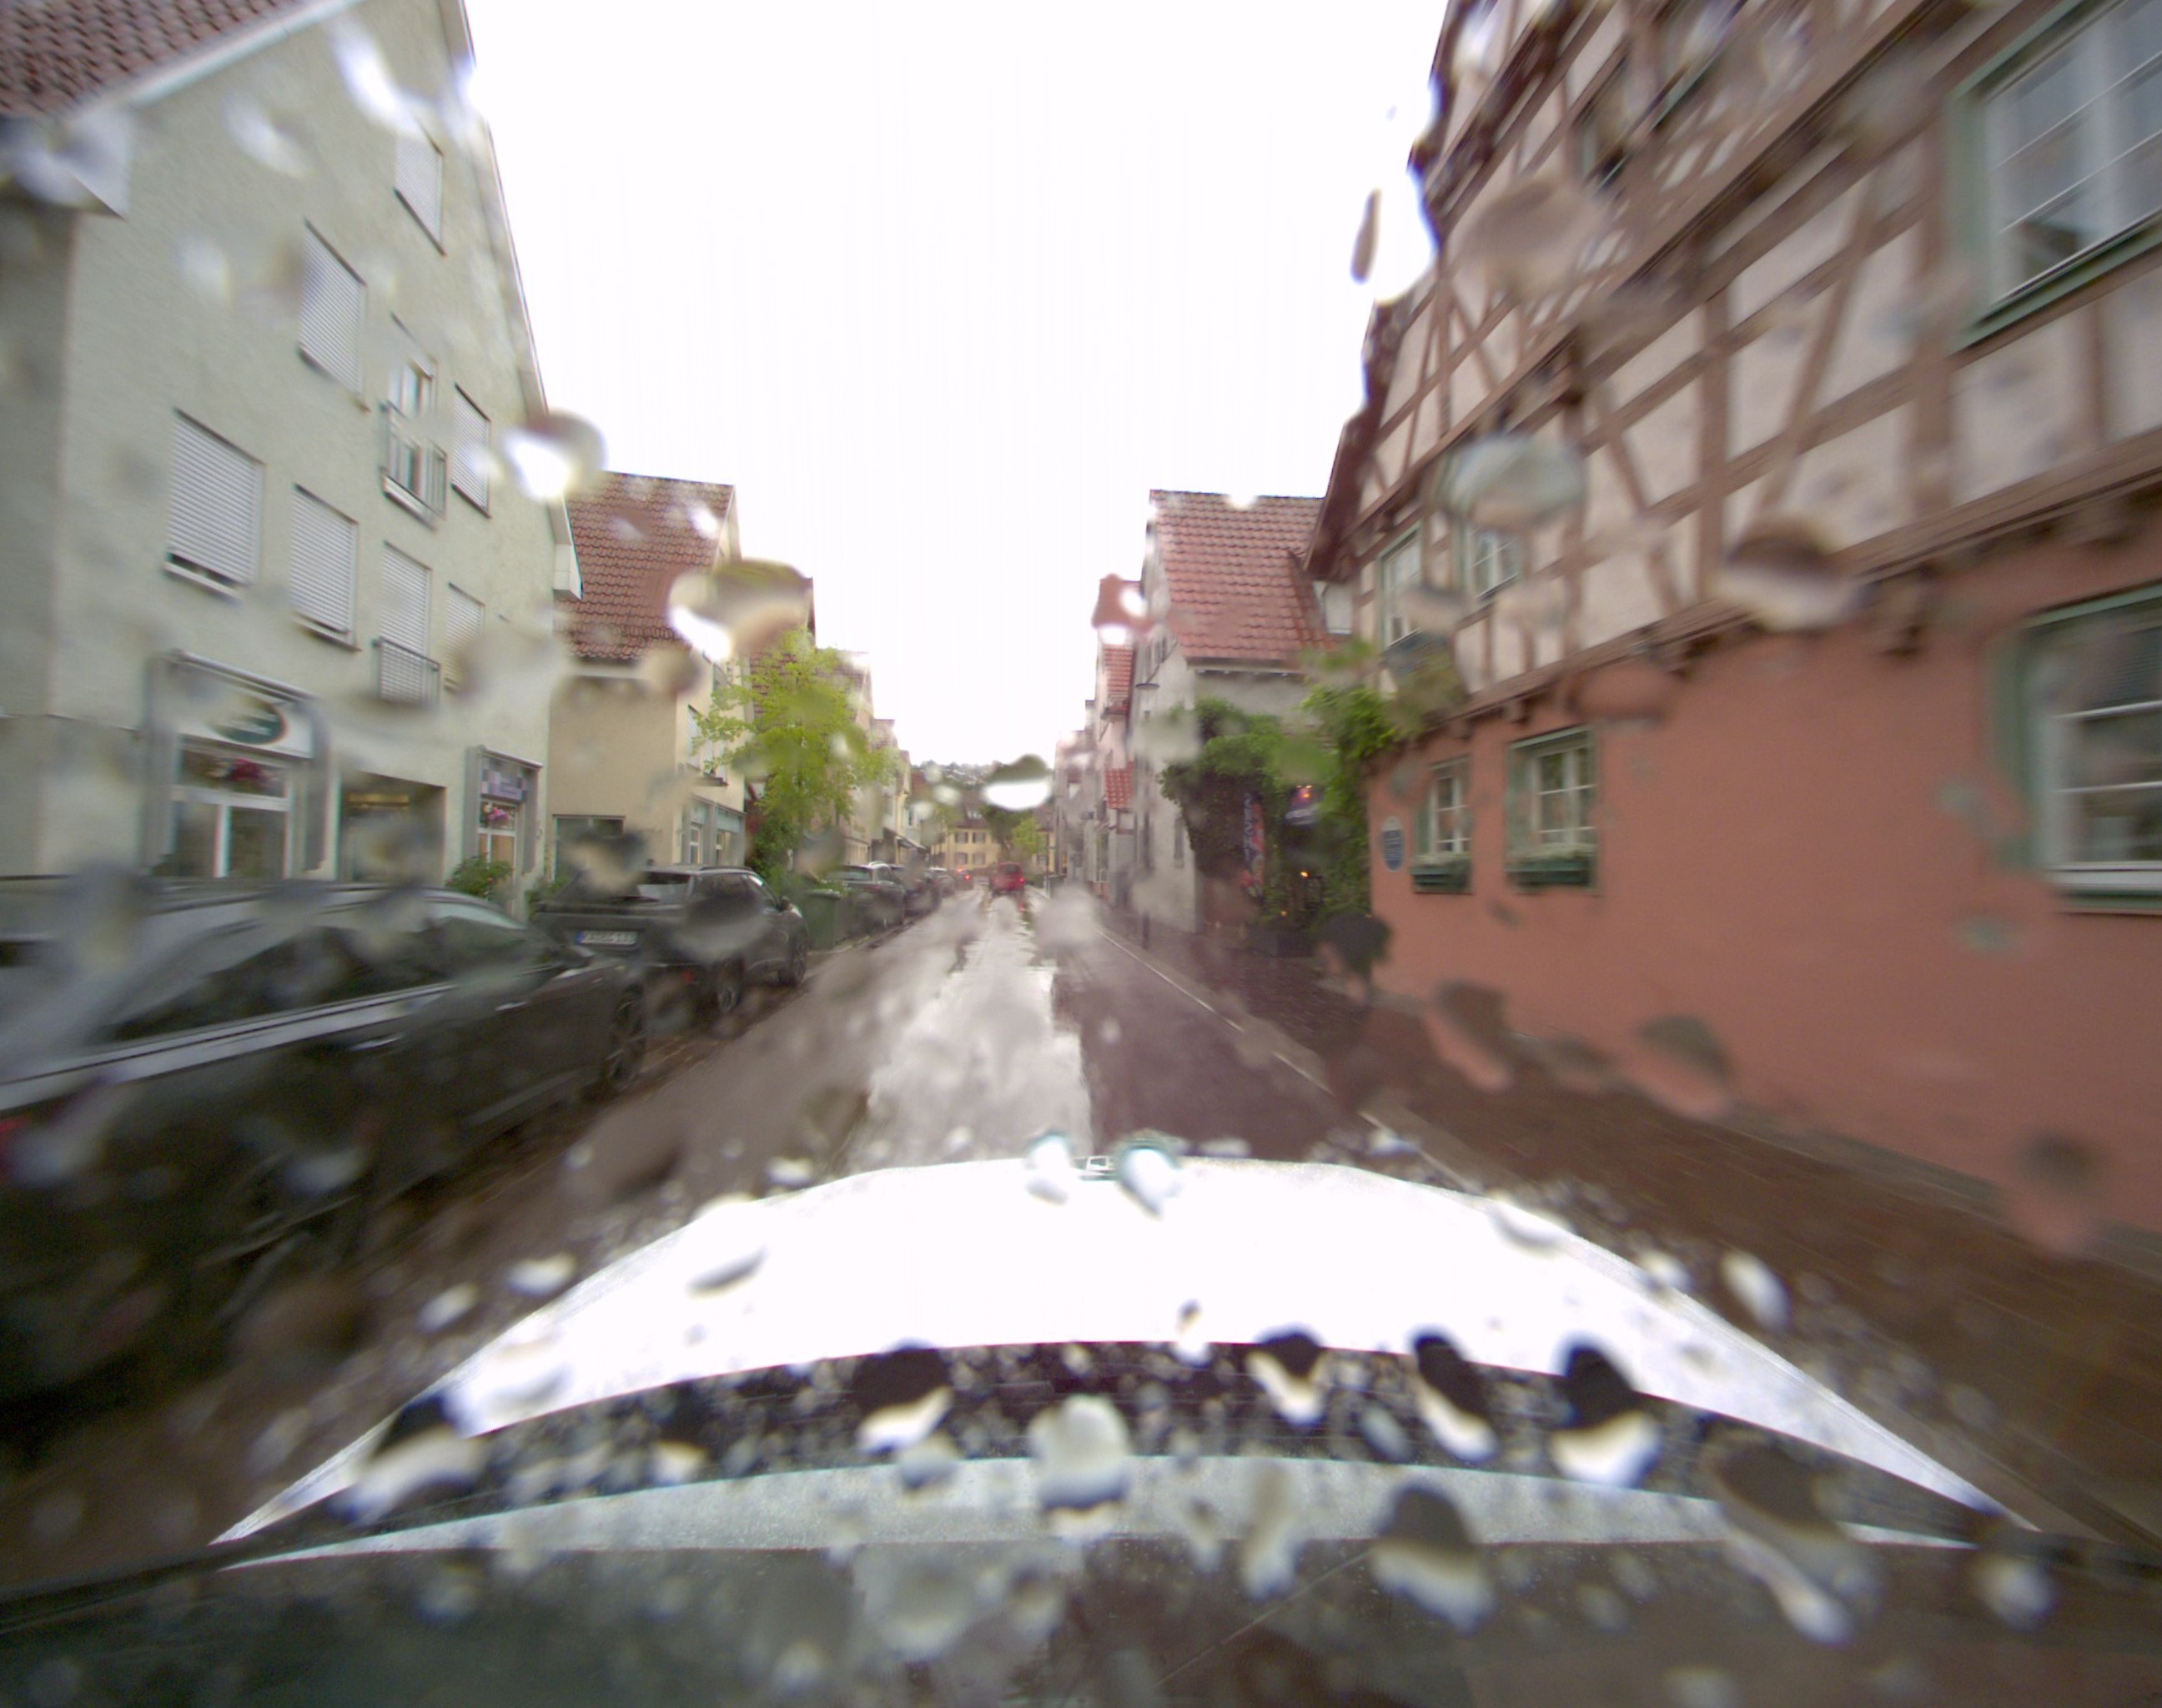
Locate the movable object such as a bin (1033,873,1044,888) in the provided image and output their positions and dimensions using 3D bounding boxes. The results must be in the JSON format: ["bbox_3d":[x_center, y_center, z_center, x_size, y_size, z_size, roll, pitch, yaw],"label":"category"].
[{"bbox_3d":[-3.220,2.018,62.023,0.767,1.080,0.598,1,-3,-5],"label":"movable object such as a bin"}]

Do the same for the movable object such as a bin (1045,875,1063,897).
[{"bbox_3d":[-1.342,1.594,40.378,0.792,1.081,0.613,0,-2,-9],"label":"movable object such as a bin"}]

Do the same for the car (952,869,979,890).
[{"bbox_3d":[-8.622,1.891,60.881,1.689,1.443,3.878,1,-1,-5],"label":"car"}]

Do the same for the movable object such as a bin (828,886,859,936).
[{"bbox_3d":[-5.037,1.202,17.298,0.551,1.046,0.533,1,-3,-9],"label":"movable object such as a bin"}]

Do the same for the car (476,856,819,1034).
[{"bbox_3d":[-4.490,0.846,9.333,1.859,1.524,4.319,2,-1,-5],"label":"car"}]

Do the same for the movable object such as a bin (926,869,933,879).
[{"bbox_3d":[-17.884,2.386,95.894,0.715,1.106,0.596,2,-3,-16],"label":"movable object such as a bin"}]

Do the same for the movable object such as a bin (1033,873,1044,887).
[{"bbox_3d":[-3.272,2.037,62.681,0.753,1.064,0.599,1,-3,-5],"label":"movable object such as a bin"}]

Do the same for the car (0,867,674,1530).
[{"bbox_3d":[-3.658,0.795,3.767,1.862,1.442,4.603,1,-1,-10],"label":"car"}]

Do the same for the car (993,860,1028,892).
[{"bbox_3d":[-4.220,1.306,49.210,1.889,1.811,3.996,2,-1,-3],"label":"car"}]

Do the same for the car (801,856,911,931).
[{"bbox_3d":[-5.575,1.003,20.783,1.821,1.667,4.633,1,-3,-5],"label":"car"}]

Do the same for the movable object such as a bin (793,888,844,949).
[{"bbox_3d":[-4.807,1.167,14.952,0.746,1.083,0.742,1,-3,-8],"label":"movable object such as a bin"}]

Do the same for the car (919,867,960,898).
[{"bbox_3d":[-7.690,1.502,44.561,1.688,1.538,4.115,2,-1,-3],"label":"car"}]

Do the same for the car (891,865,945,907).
[{"bbox_3d":[-6.698,1.293,33.788,1.778,1.538,4.280,2,-1,-6],"label":"car"}]

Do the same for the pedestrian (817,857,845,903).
[{"bbox_3d":[-9.442,0.985,30.761,0.787,1.682,1.173,1,-3,-8],"label":"pedestrian"}]

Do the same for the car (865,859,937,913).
[{"bbox_3d":[-6.062,1.111,27.874,1.822,1.667,4.631,1,-3,-6],"label":"car"}]

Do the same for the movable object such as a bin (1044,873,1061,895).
[{"bbox_3d":[-1.436,1.521,41.048,0.795,1.081,0.581,0,-2,-9],"label":"movable object such as a bin"}]

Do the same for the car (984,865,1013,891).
[{"bbox_3d":[-6.164,1.809,60.653,1.992,1.800,3.988,1,-3,-8],"label":"car"}]
